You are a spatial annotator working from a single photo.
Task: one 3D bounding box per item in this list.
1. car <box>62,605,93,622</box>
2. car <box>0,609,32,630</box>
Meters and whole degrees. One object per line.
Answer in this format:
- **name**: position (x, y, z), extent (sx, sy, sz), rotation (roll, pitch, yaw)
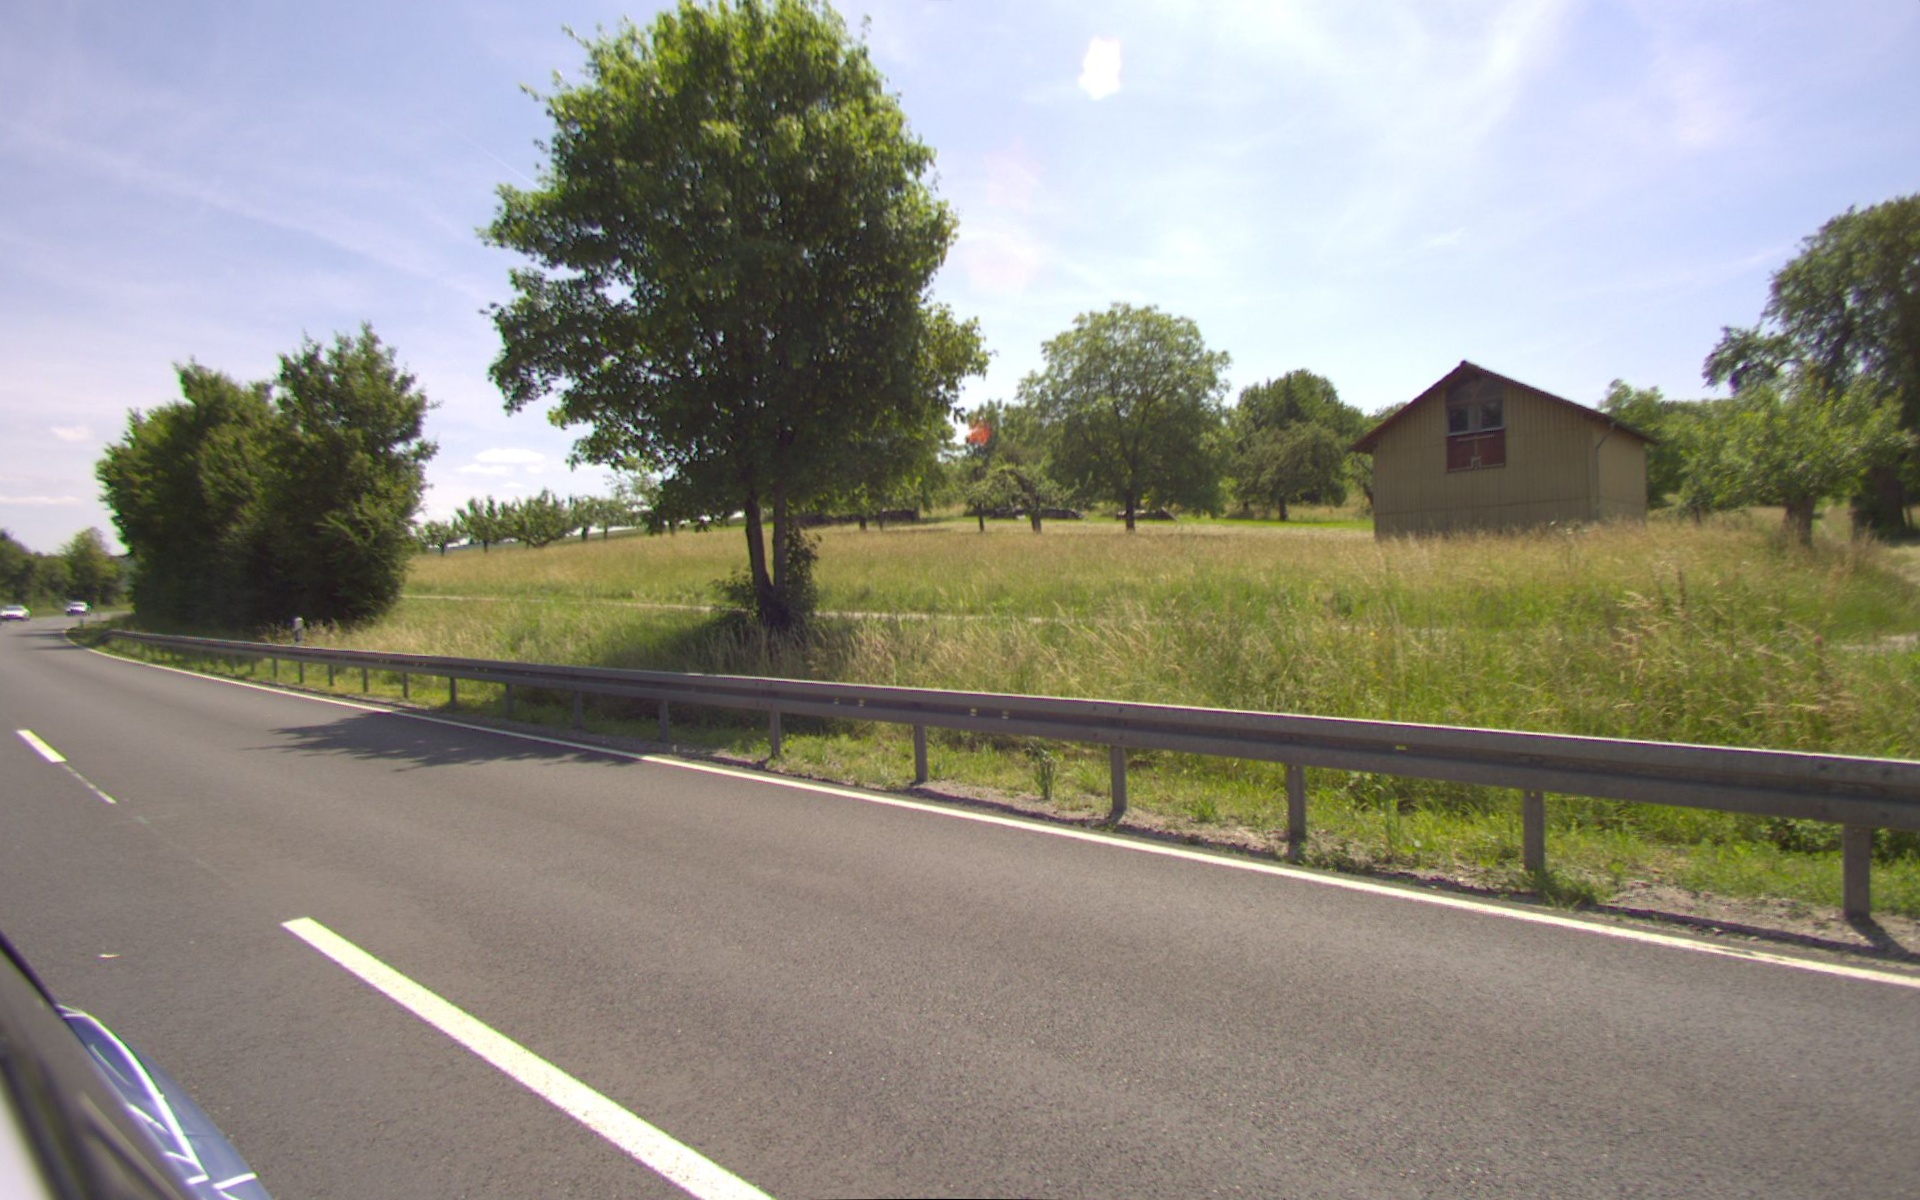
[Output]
- **car**: position (-109.289, 1.666, 125.339), extent (1.965, 2.029, 4.013), rotation (-1, 0, -27)
- **car**: position (-92.742, 1.929, 99.121), extent (1.966, 2.029, 4.011), rotation (0, -1, -33)
